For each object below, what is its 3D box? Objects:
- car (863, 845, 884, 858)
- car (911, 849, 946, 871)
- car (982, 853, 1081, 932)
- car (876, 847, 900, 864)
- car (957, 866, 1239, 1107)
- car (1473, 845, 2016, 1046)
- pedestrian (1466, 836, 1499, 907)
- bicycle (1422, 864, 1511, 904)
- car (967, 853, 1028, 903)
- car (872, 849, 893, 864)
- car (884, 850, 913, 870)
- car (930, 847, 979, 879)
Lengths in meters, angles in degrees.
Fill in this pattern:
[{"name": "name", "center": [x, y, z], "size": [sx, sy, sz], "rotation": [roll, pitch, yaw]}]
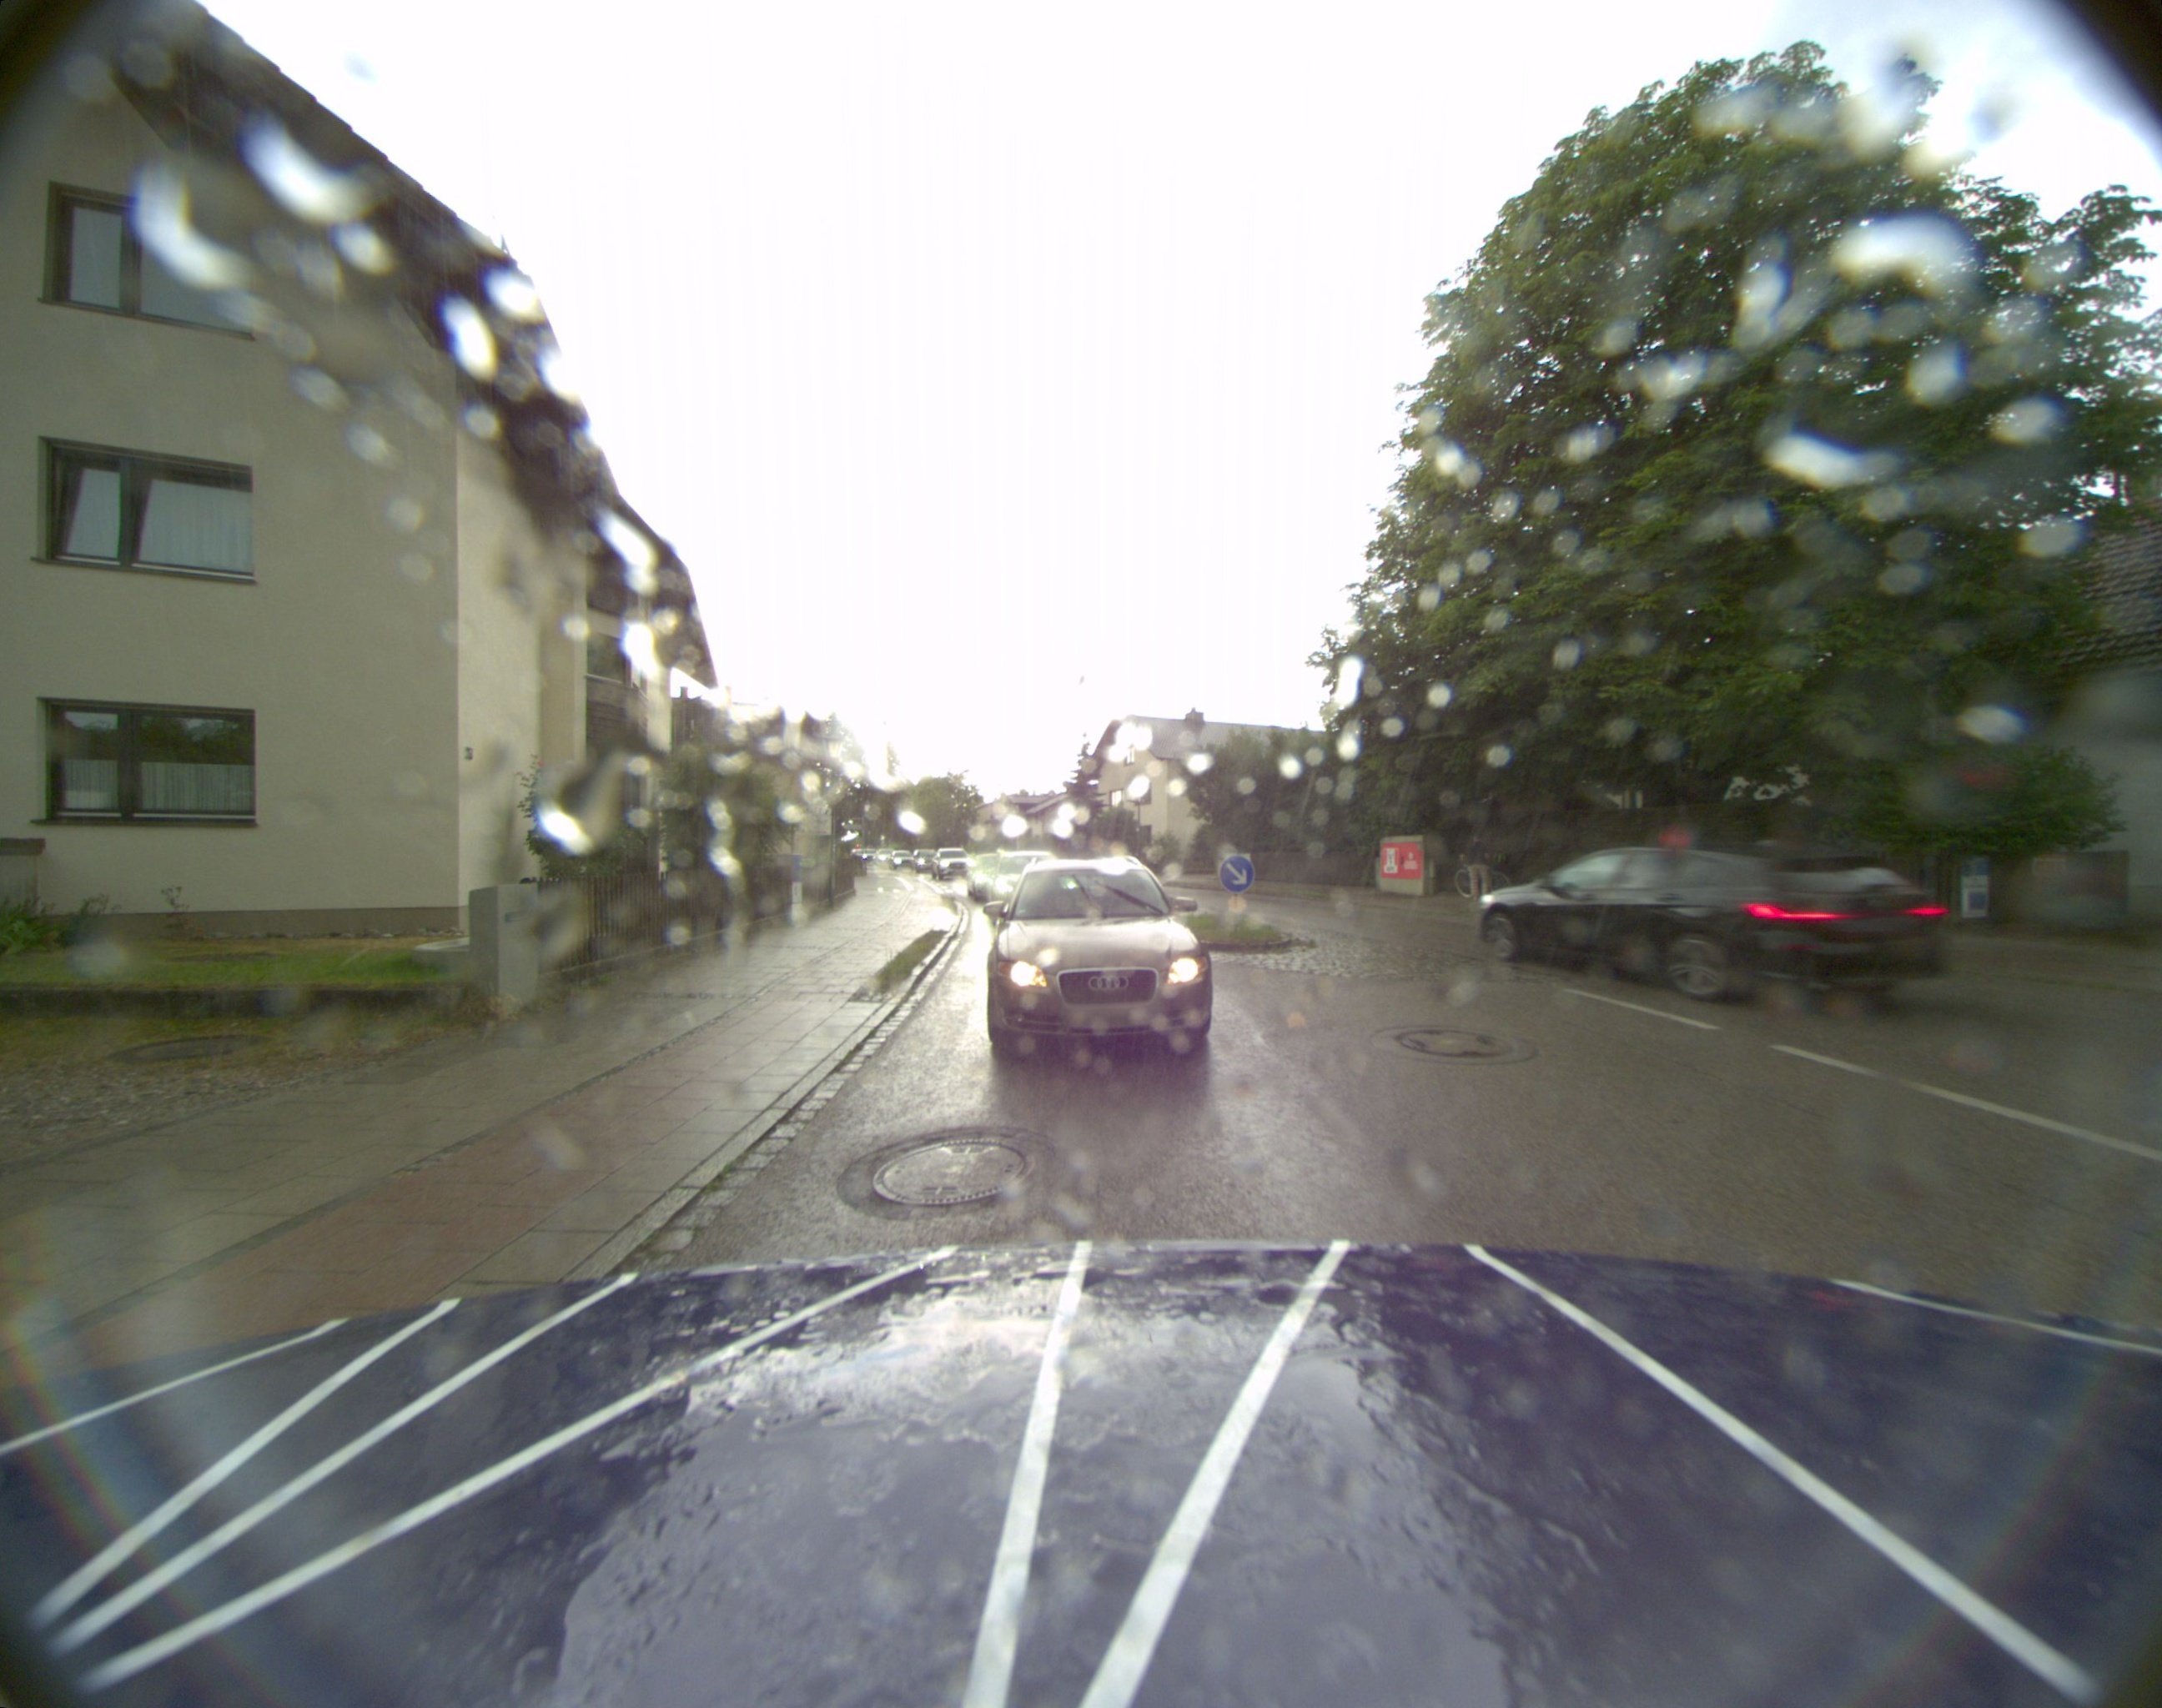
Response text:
[{"name": "car", "center": [-25.586, -0.306, 93.647], "size": [1.797, 1.539, 4.273], "rotation": [-3, 1, -23]}, {"name": "car", "center": [-10.837, 0.411, 53.847], "size": [1.796, 1.365, 4.274], "rotation": [-3, 1, -20]}, {"name": "car", "center": [-1.320, 0.757, 17.744], "size": [1.795, 1.470, 5.381], "rotation": [-2, 1, -9]}, {"name": "car", "center": [-18.948, 0.141, 74.604], "size": [1.797, 1.539, 4.273], "rotation": [-3, 1, -21]}, {"name": "car", "center": [0.049, 0.898, 7.108], "size": [1.794, 1.387, 4.280], "rotation": [-2, 1, -2]}, {"name": "car", "center": [6.156, 0.679, 7.831], "size": [1.817, 1.482, 4.056], "rotation": [-1, 0, -6]}, {"name": "pedestrian", "center": [9.314, 0.390, 17.637], "size": [0.652, 1.619, 0.480], "rotation": [0, 1, 30]}, {"name": "bicycle", "center": [9.463, 0.722, 18.721], "size": [0.665, 0.897, 1.870], "rotation": [-2, 1, -31]}, {"name": "car", "center": [-2.847, 0.721, 25.124], "size": [1.795, 1.387, 4.277], "rotation": [-2, 1, -9]}, {"name": "car", "center": [-21.952, 0.239, 83.847], "size": [1.796, 1.539, 4.274], "rotation": [-3, 1, -20]}, {"name": "car", "center": [-15.200, 0.452, 63.052], "size": [1.797, 1.539, 4.273], "rotation": [-3, 1, -21]}, {"name": "car", "center": [-6.828, 0.453, 40.659], "size": [1.796, 1.539, 4.274], "rotation": [-3, 1, -20]}]
